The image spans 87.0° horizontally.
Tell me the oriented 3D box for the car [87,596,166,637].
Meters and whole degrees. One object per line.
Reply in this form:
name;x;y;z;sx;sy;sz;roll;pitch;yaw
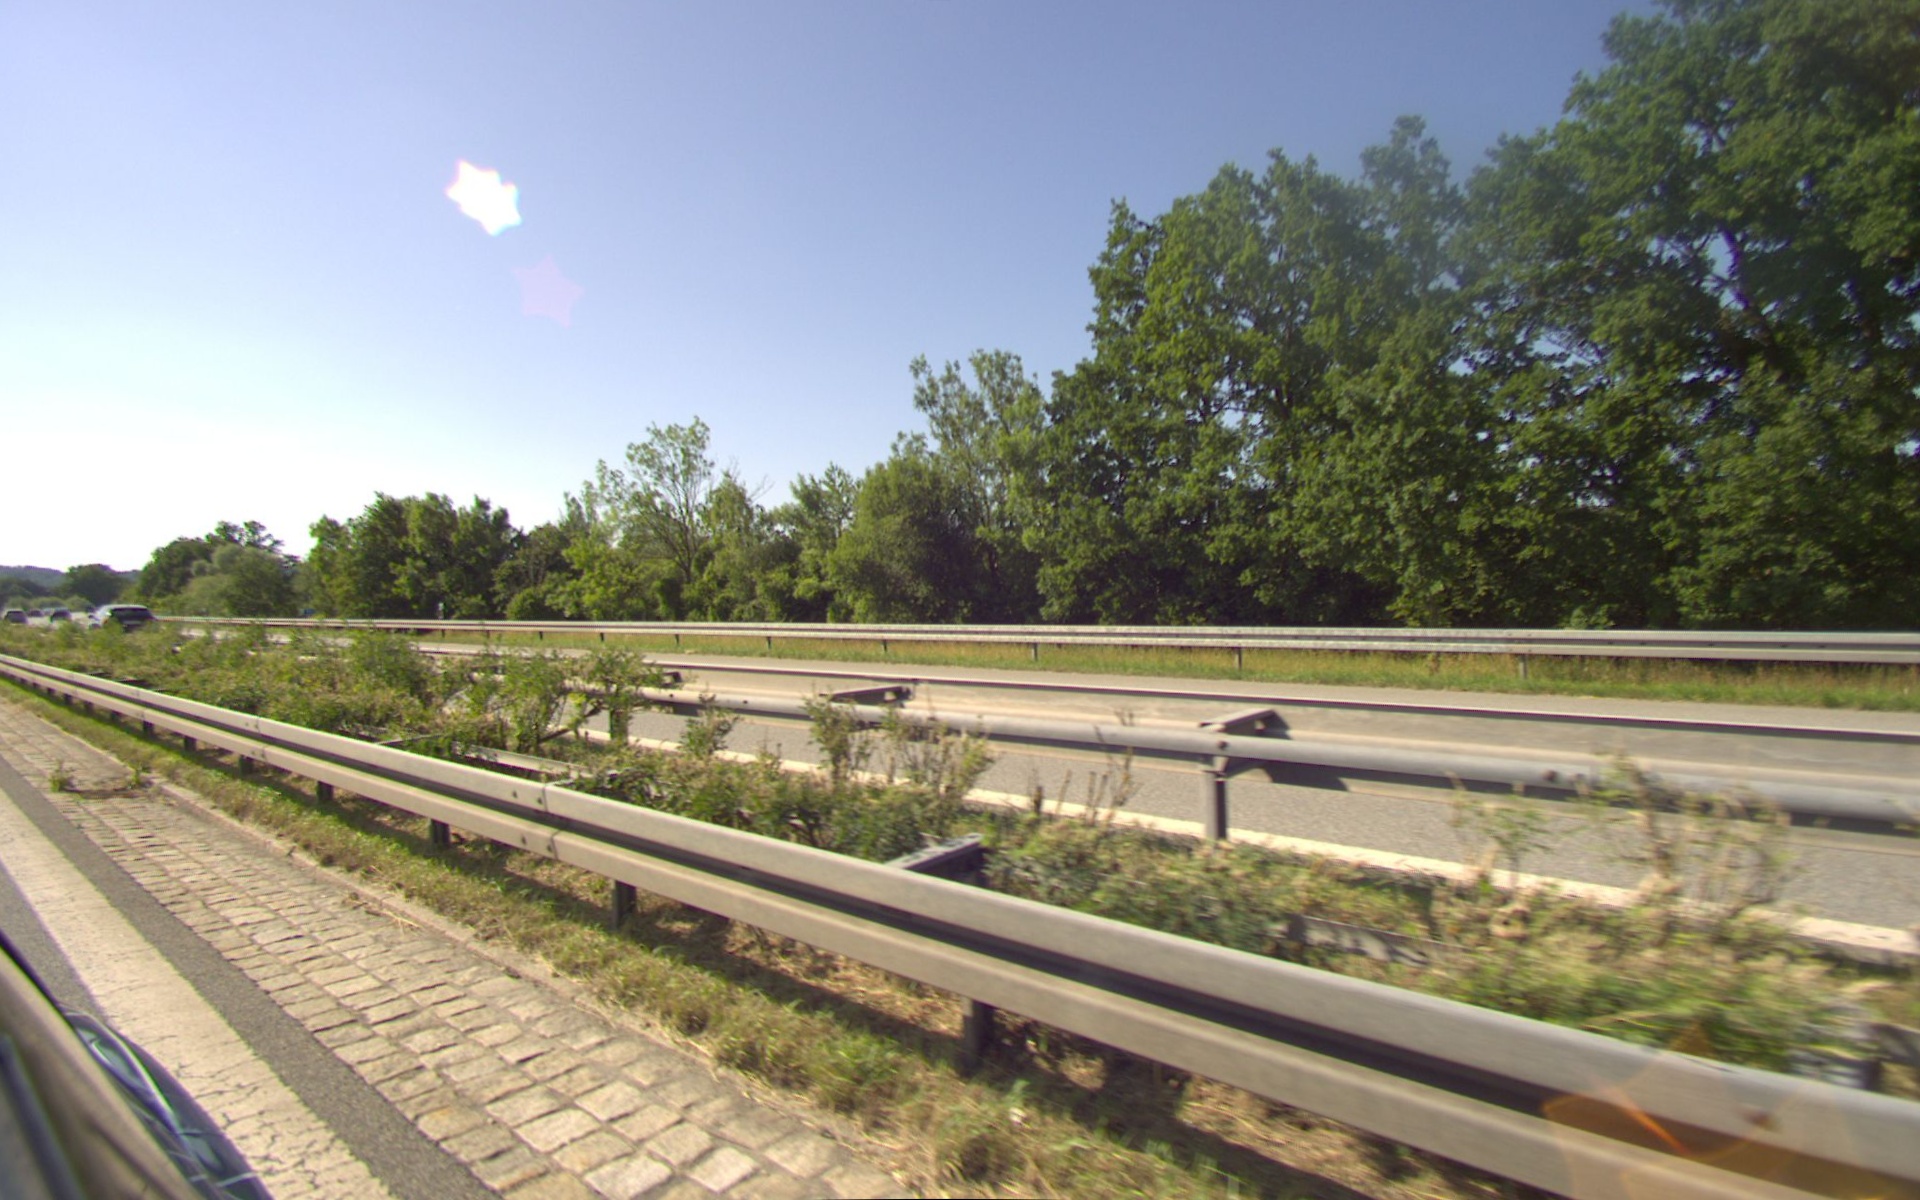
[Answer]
car;-31.582;0.637;38.314;4.244;1.461;1.642;-1;-2;41

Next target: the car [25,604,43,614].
car;-150.216;1.421;164.125;4.795;1.516;1.909;-1;-1;44

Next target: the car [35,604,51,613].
car;-169.544;1.582;187.041;4.795;1.516;1.909;-1;-1;44

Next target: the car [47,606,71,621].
car;-104.560;1.589;117.426;4.495;1.646;1.832;-1;-1;44

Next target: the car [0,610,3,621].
car;-129.228;2.046;135.083;4.795;1.516;1.909;-1;-1;44

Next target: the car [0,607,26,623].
car;-91.302;1.479;97.279;4.795;1.516;1.909;-1;-1;44
